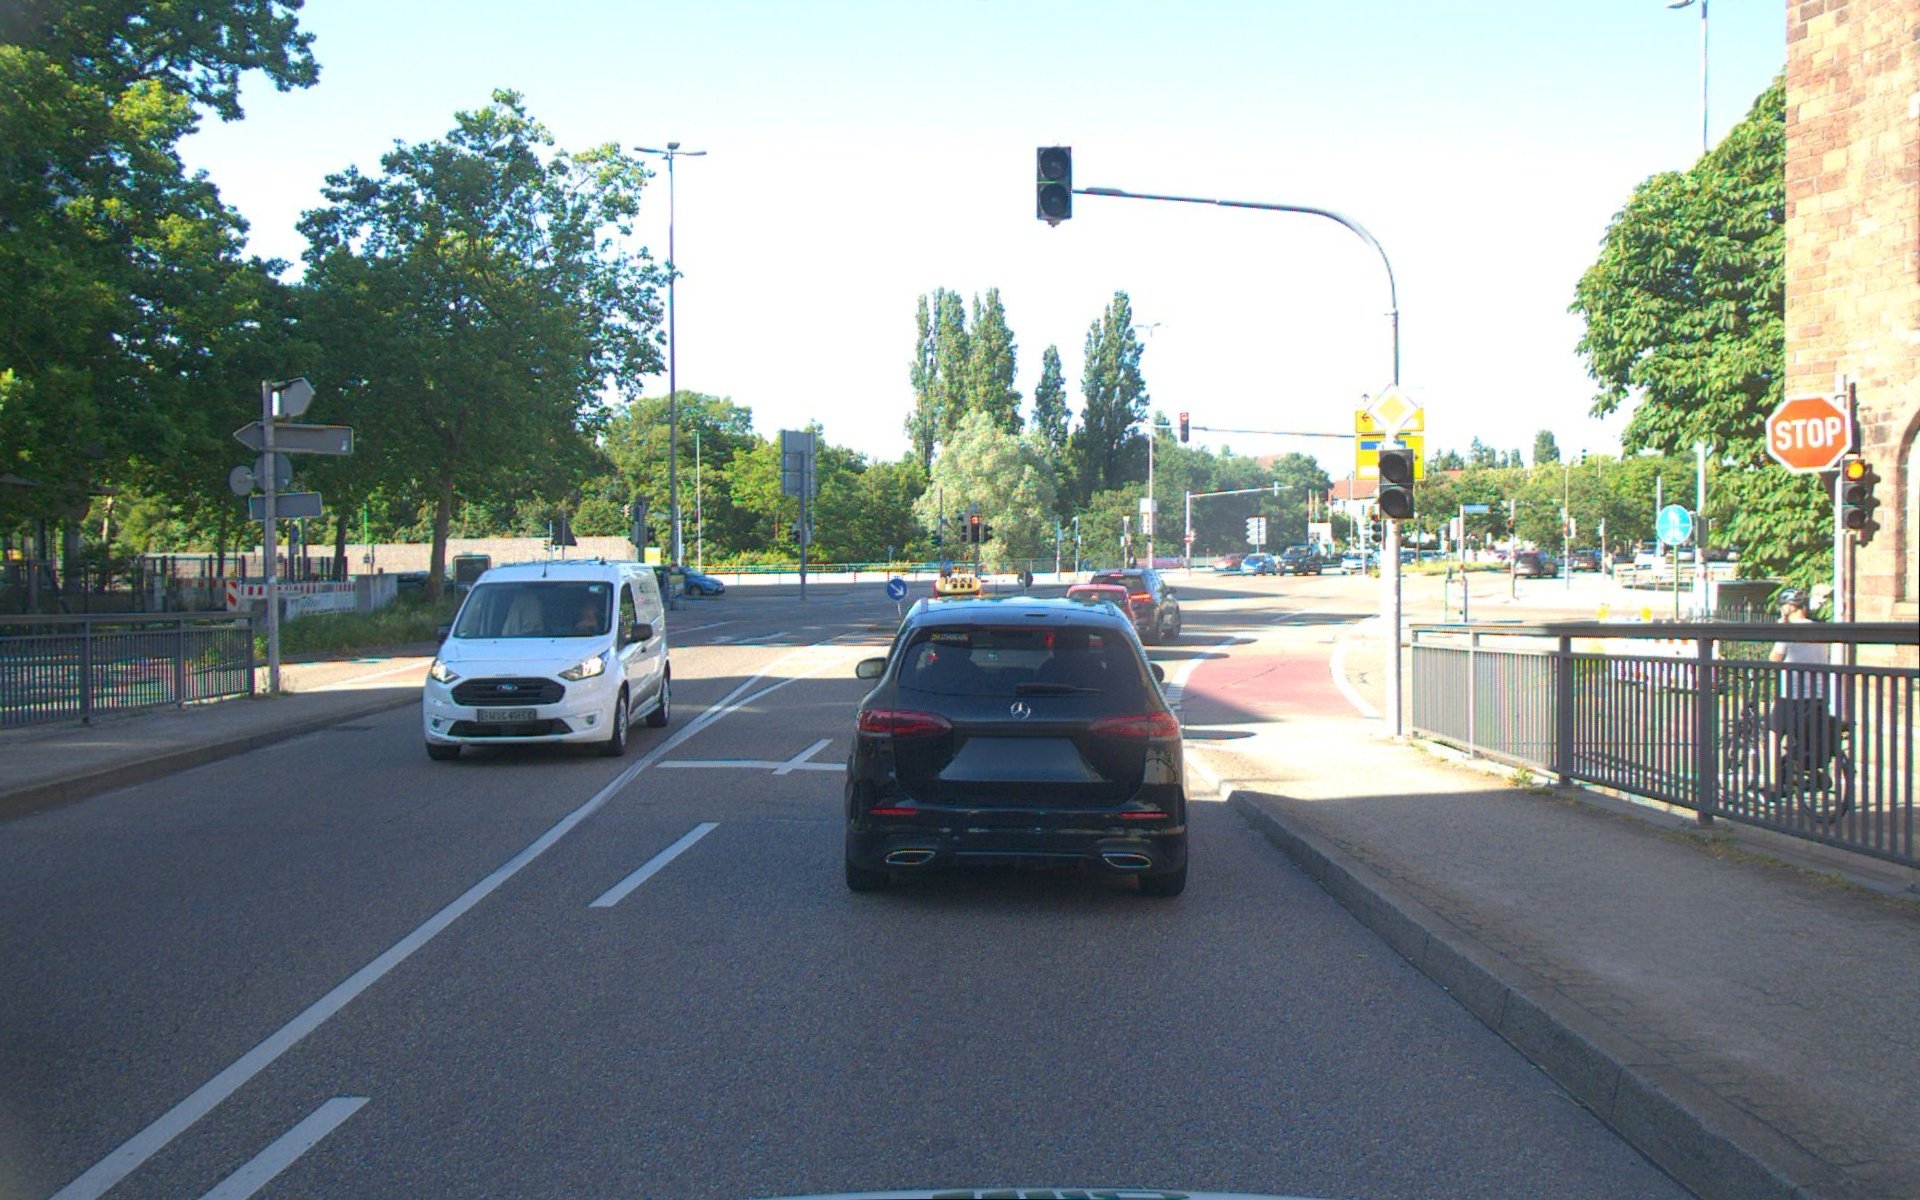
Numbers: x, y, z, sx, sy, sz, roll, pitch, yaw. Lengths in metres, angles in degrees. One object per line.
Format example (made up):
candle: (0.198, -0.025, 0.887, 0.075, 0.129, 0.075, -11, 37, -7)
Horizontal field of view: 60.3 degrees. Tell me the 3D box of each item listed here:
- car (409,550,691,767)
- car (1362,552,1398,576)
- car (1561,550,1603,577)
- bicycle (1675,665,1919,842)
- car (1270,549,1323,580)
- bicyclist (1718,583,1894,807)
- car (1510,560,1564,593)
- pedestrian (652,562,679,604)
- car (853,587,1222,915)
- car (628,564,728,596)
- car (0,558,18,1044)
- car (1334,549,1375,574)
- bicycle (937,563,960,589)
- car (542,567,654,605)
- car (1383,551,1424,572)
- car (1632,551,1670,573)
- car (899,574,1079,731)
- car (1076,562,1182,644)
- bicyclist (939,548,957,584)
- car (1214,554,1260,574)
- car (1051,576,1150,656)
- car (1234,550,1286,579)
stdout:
car: (-3.944, 0.445, 16.800, 1.774, 1.833, 5.118, -1, 1, -3)
car: (29.457, -2.544, 115.945, 1.689, 1.610, 4.000, 0, 2, 26)
car: (42.715, -2.521, 113.567, 1.958, 1.825, 3.990, 0, 1, 32)
bicycle: (6.829, 1.182, 13.404, 0.784, 1.130, 2.399, 0, 2, -7)
car: (22.022, -2.337, 108.056, 1.956, 1.969, 4.843, 0, 2, 30)
bicyclist: (6.833, 0.742, 13.405, 0.784, 1.735, 1.083, 1, -1, -8)
car: (33.912, -1.364, 97.137, 1.960, 1.825, 3.985, 0, -1, 36)
pedestrian: (-11.490, -0.666, 64.593, 0.672, 1.565, 1.367, 1, -3, 4)
car: (0.324, 0.717, 9.711, 1.715, 1.520, 3.999, 0, 0, -1)
car: (-13.155, -0.934, 77.066, 4.348, 1.463, 1.825, 0, 2, 25)
car: (-3.987, 0.688, 3.609, 1.784, 1.632, 3.997, 0, 0, -4)
car: (26.137, -2.547, 109.531, 1.784, 1.610, 4.100, 0, 2, 26)
bicycle: (-0.542, -1.177, 80.957, 0.672, 1.223, 2.330, 0, 2, 11)
car: (-14.730, -0.567, 67.245, 4.353, 1.463, 1.823, 0, 2, 29)
car: (33.123, -2.861, 123.556, 1.957, 1.478, 3.991, 1, 0, 31)
car: (53.709, -2.949, 128.497, 1.959, 1.668, 3.986, 0, 2, 35)
car: (0.340, 0.491, 18.570, 1.782, 1.515, 4.001, -1, 1, 1)
car: (4.201, 0.010, 40.639, 1.829, 1.821, 4.418, 2, 2, 16)
bicyclist: (-0.581, -1.649, 80.771, 0.672, 1.730, 1.199, 0, 2, 11)
car: (22.568, -2.918, 134.710, 1.965, 1.575, 3.976, 1, 2, 42)
car: (3.035, 0.295, 35.139, 1.781, 1.505, 4.004, 2, 2, 9)
car: (20.342, -2.418, 112.091, 1.956, 1.897, 4.843, 0, 2, 30)
